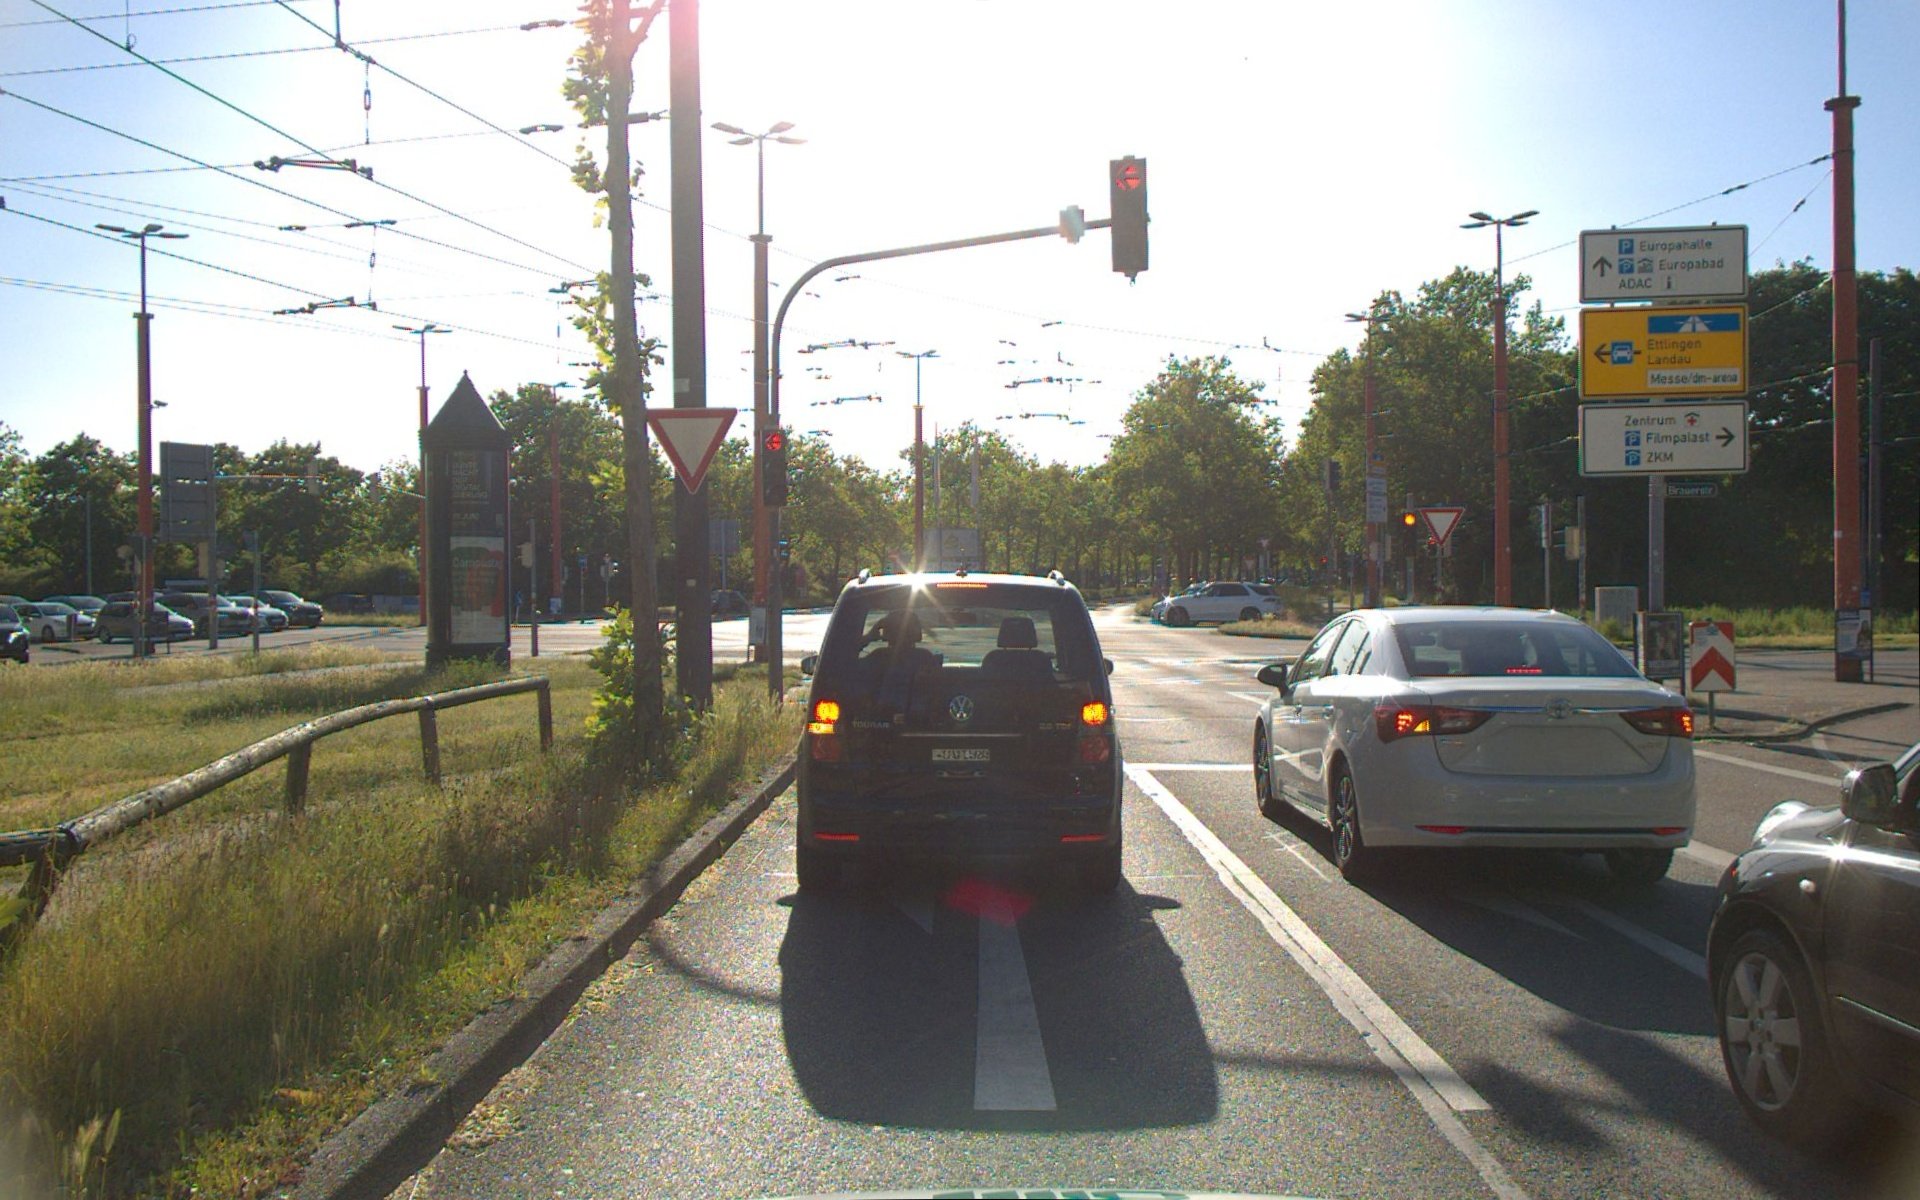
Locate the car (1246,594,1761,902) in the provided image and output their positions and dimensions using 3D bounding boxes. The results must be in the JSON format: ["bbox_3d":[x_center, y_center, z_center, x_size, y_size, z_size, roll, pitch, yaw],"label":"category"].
[{"bbox_3d":[3.012,0.727,10.189,1.762,1.465,4.326,1,0,0],"label":"car"}]

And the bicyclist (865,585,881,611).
[{"bbox_3d":[-6.540,-0.130,124.739,0.955,1.937,1.051,0,0,11],"label":"bicyclist"}]

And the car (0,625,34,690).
[{"bbox_3d":[-26.785,1.577,46.062,1.632,1.647,4.255,0,0,-28],"label":"car"}]

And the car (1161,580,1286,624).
[{"bbox_3d":[10.358,0.064,65.115,4.568,1.654,1.655,0,0,26],"label":"car"}]

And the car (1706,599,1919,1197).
[{"bbox_3d":[3.133,0.740,3.493,1.544,1.465,3.441,1,0,0],"label":"car"}]

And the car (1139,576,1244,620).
[{"bbox_3d":[9.688,-0.108,69.164,4.037,1.780,1.656,0,0,25],"label":"car"}]

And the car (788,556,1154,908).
[{"bbox_3d":[0.064,0.633,9.967,1.703,1.630,4.326,1,0,0],"label":"car"}]

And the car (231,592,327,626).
[{"bbox_3d":[-29.474,0.370,71.552,4.060,1.440,1.542,0,0,26],"label":"car"}]

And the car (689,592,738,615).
[{"bbox_3d":[-15.523,0.183,104.527,1.616,1.427,4.136,0,0,14],"label":"car"}]

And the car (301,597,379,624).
[{"bbox_3d":[-34.311,0.585,91.546,4.036,1.427,1.656,0,0,25],"label":"car"}]

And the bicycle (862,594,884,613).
[{"bbox_3d":[-6.547,0.261,124.698,0.955,1.413,2.982,0,0,11],"label":"bicycle"}]

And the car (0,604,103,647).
[{"bbox_3d":[-34.943,0.967,63.257,4.536,1.546,1.654,0,0,30],"label":"car"}]

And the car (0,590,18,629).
[{"bbox_3d":[-42.990,0.380,71.638,4.541,1.676,1.753,0,0,30],"label":"car"}]

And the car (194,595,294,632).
[{"bbox_3d":[-29.410,0.529,67.930,4.060,1.440,1.542,0,0,26],"label":"car"}]

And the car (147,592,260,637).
[{"bbox_3d":[-29.323,0.538,64.095,4.541,1.676,1.654,0,0,30],"label":"car"}]

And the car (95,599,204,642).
[{"bbox_3d":[-29.549,0.728,60.303,3.755,1.466,1.655,0,0,27],"label":"car"}]
